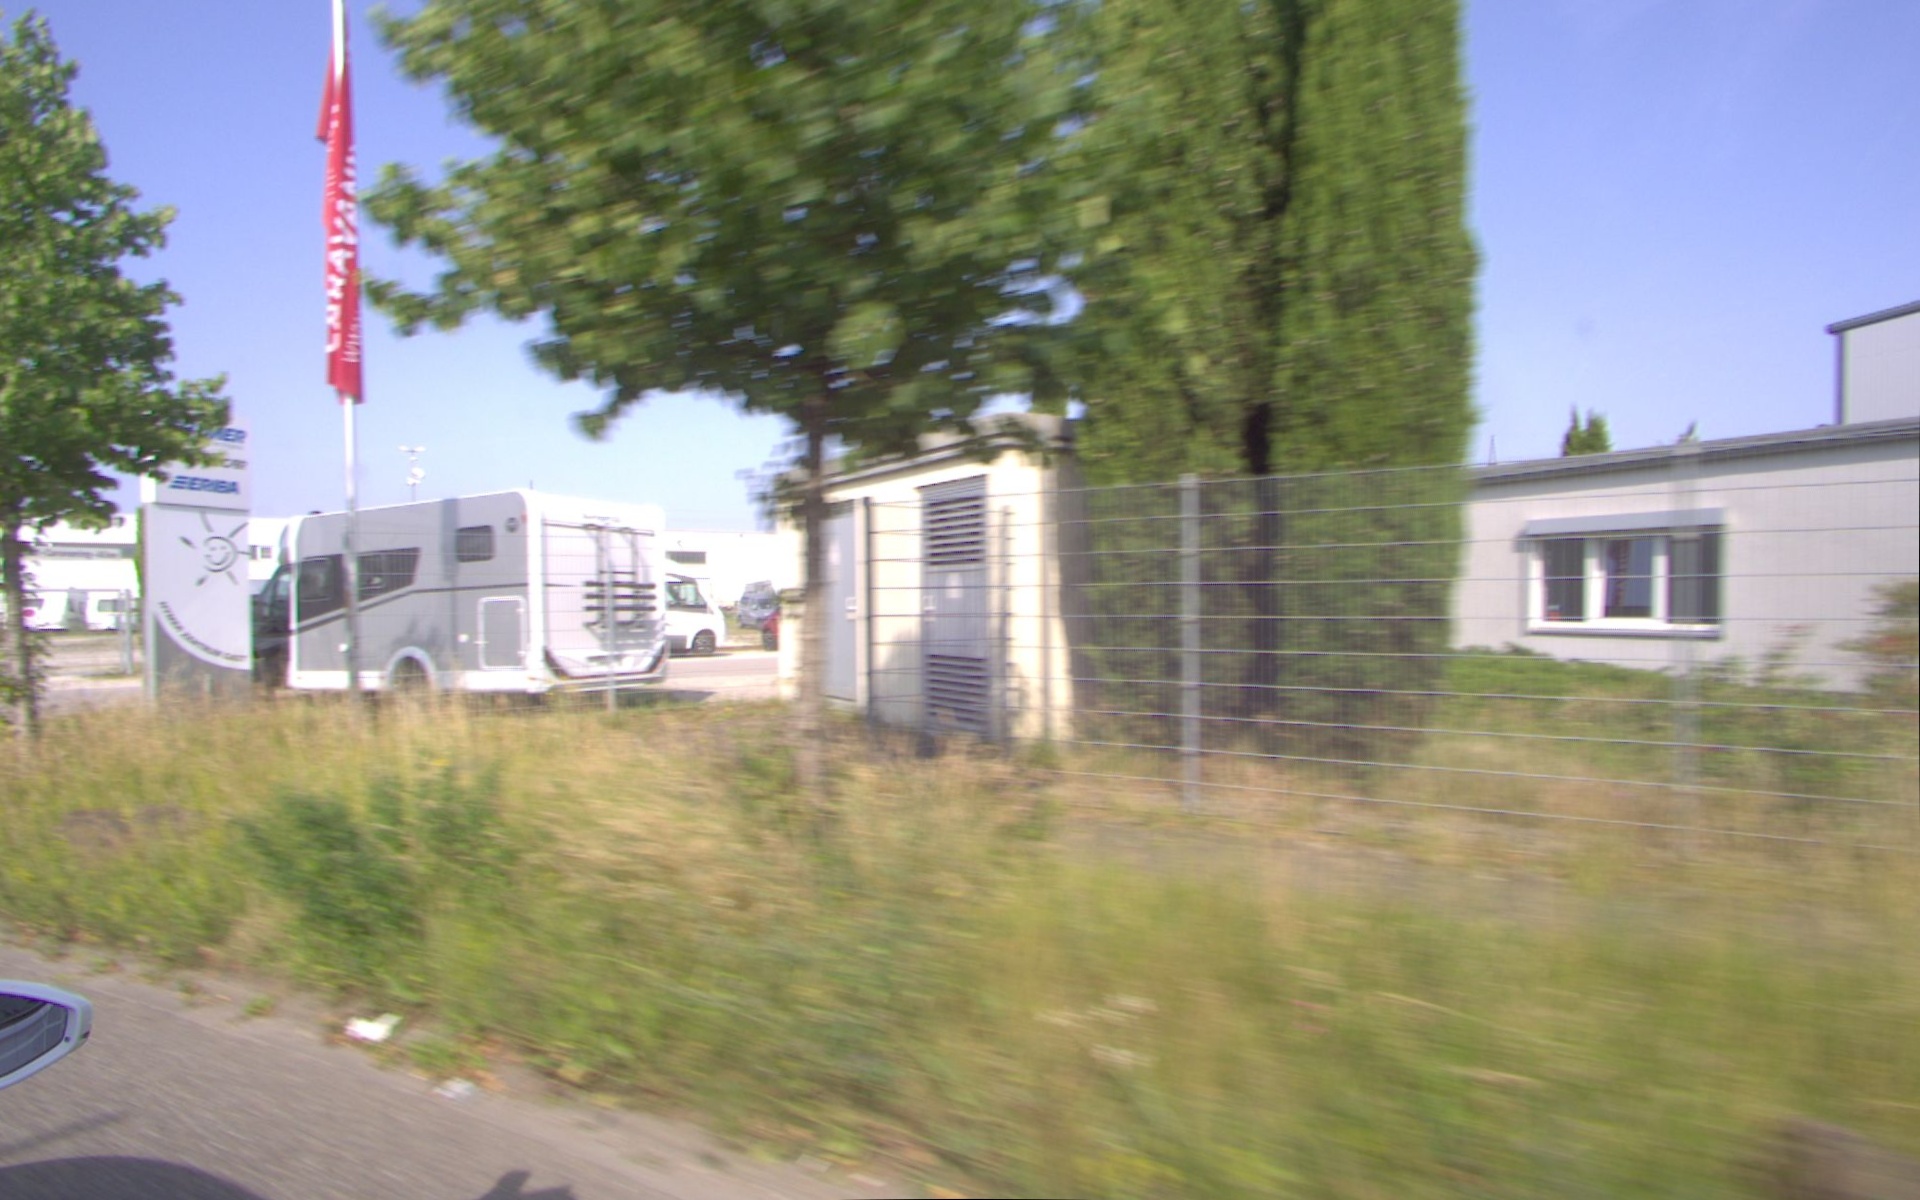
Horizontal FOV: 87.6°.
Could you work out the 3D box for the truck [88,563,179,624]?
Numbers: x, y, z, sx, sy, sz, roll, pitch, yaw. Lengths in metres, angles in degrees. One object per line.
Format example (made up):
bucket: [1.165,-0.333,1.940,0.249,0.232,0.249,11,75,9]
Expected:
truck: [-42.133,-0.320,51.251,2.424,2.864,7.955,0,1,-31]

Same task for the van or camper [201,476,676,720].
van or camper: [-7.682,-0.021,14.495,7.225,2.886,2.348,0,1,27]

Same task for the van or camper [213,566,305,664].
van or camper: [-20.414,0.361,29.250,1.974,2.569,6.107,-1,1,-35]

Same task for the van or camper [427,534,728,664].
van or camper: [-10.148,-0.036,27.083,7.197,3.072,2.564,0,1,-39]

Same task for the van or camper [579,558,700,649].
van or camper: [-11.414,0.143,35.282,2.297,2.902,6.566,-1,0,-34]

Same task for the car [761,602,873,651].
car: [-4.540,0.803,31.329,1.696,1.397,3.968,2,-1,-38]

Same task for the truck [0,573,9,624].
truck: [-46.145,-0.055,45.604,2.424,2.504,7.955,0,1,-31]

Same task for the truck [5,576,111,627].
truck: [-44.587,0.034,49.748,2.424,2.295,7.955,0,1,-31]

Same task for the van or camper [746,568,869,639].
van or camper: [-6.139,0.146,39.487,2.196,2.558,6.566,-1,0,-34]

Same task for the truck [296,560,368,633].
truck: [-27.228,-0.173,43.592,2.424,2.884,7.955,0,1,-31]
